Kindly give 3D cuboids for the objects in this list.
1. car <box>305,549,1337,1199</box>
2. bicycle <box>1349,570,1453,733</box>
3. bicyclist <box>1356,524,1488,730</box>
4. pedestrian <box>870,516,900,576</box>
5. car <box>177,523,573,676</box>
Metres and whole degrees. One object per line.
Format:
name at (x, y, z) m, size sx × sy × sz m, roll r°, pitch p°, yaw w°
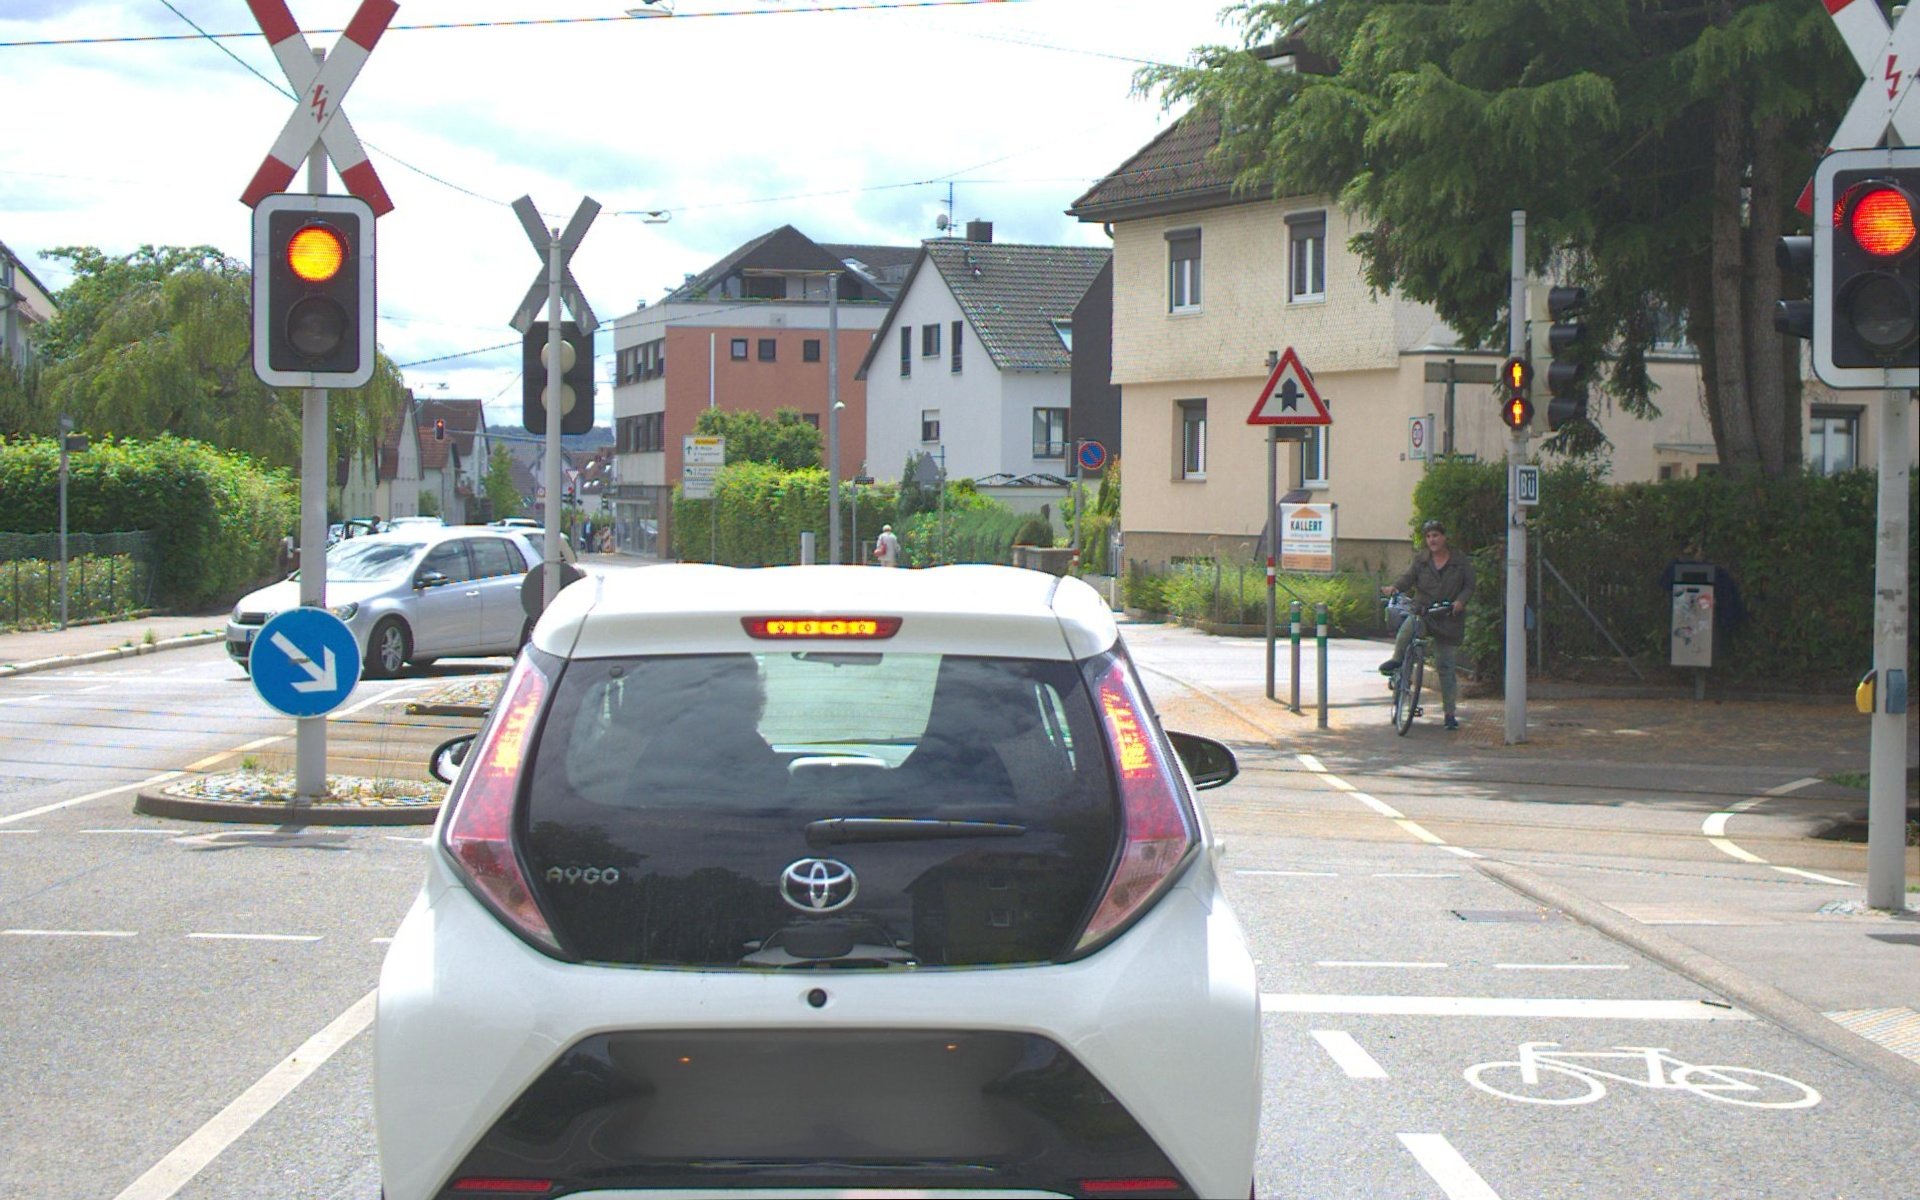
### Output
car at (-0.362, 0.638, 7.684) m, size 1.721 × 1.437 × 3.709 m, roll 2°, pitch 1°, yaw -4°
bicycle at (3.493, 0.395, 27.336) m, size 0.457 × 1.168 × 1.480 m, roll -2°, pitch 4°, yaw -6°
bicyclist at (3.651, 0.201, 27.235) m, size 0.840 × 1.548 × 0.756 m, roll -2°, pitch 4°, yaw -6°
pedestrian at (-1.979, -1.423, 90.438) m, size 0.726 × 1.571 × 0.803 m, roll 2°, pitch 1°, yaw 0°
car at (-5.965, -0.016, 35.489) m, size 1.908 × 1.436 × 4.092 m, roll 2°, pitch 1°, yaw 28°
